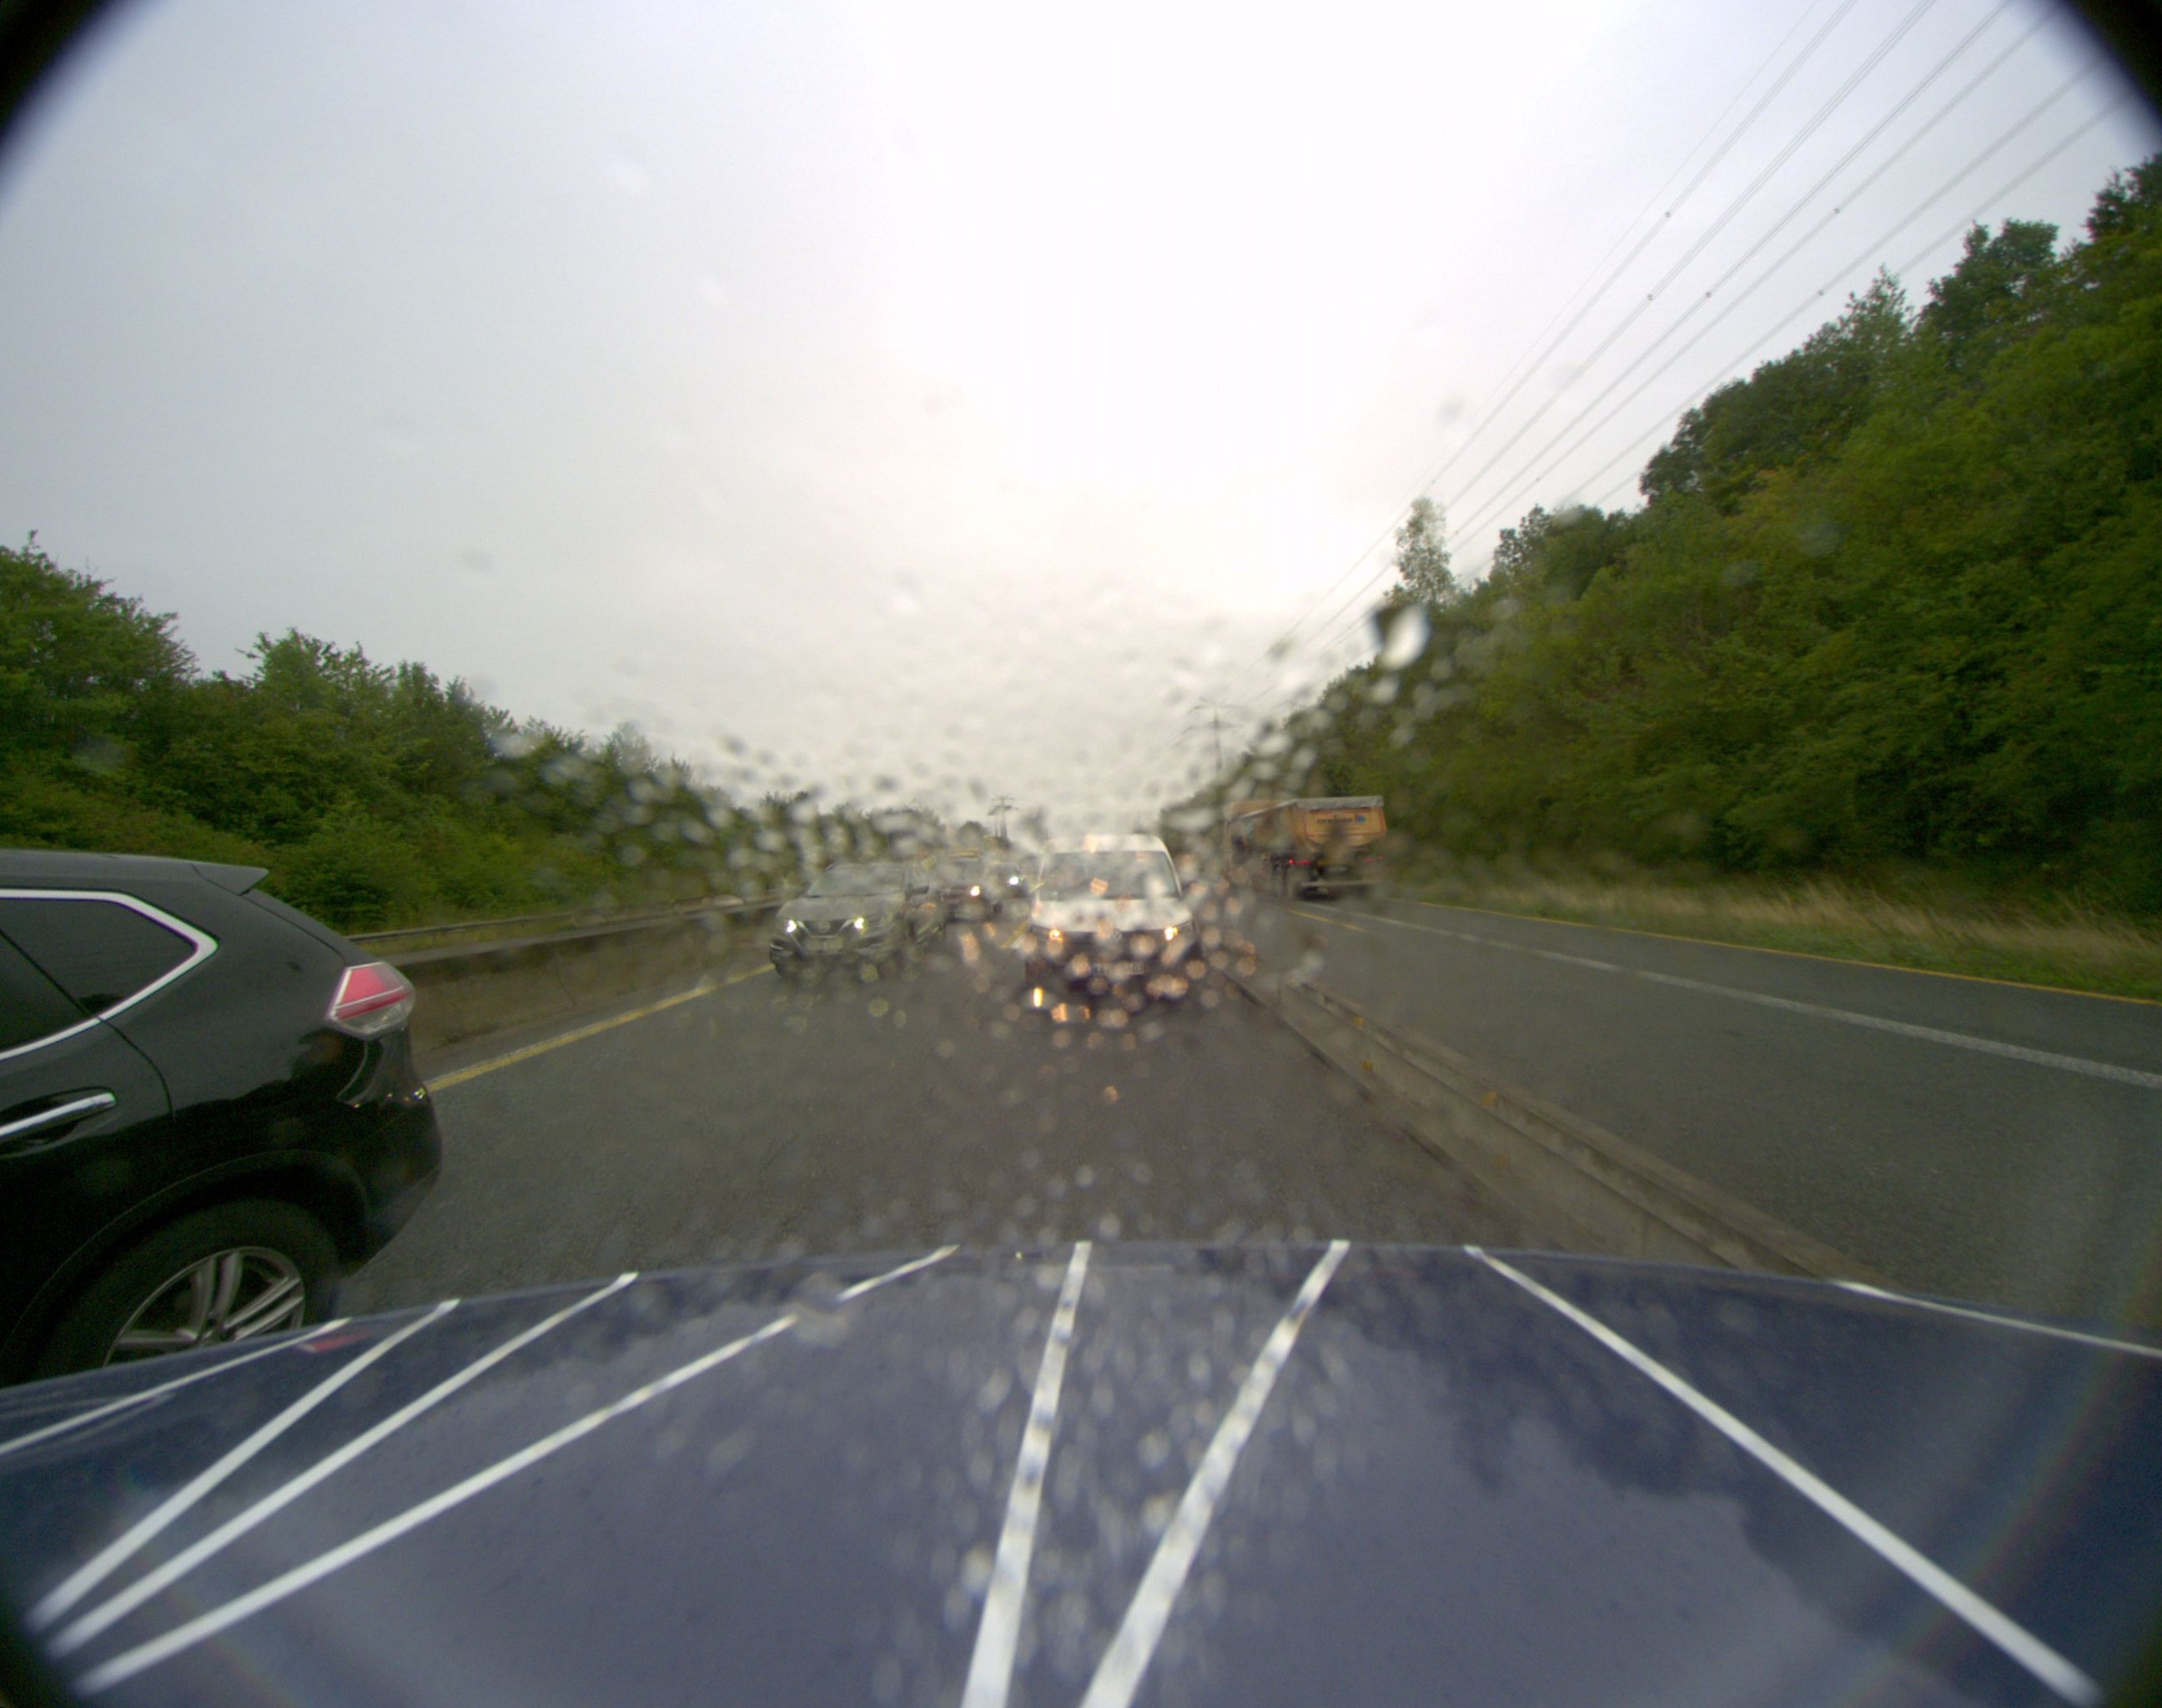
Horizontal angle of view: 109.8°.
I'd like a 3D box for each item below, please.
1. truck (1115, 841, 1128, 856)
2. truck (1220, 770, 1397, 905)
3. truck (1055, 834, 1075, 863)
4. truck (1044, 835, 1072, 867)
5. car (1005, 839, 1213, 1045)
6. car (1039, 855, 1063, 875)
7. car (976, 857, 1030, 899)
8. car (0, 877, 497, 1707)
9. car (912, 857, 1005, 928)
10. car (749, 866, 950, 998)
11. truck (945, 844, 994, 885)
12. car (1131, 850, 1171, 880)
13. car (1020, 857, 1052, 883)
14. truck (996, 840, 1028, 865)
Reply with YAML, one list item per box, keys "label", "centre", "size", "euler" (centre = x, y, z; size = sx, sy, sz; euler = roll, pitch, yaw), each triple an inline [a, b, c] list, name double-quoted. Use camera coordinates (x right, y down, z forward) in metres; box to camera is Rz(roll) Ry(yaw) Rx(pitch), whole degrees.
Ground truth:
- label: "truck"
  centre: [9.425, -1.211, 178.022]
  size: [2.541, 3.333, 12.048]
  euler: [-2, 1, 1]
- label: "truck"
  centre: [7.416, -0.526, 27.153]
  size: [2.688, 3.635, 12.310]
  euler: [-2, 1, 1]
- label: "truck"
  centre: [-2.177, -0.779, 109.025]
  size: [2.619, 3.869, 9.574]
  euler: [-2, 1, 0]
- label: "truck"
  centre: [-2.617, -0.417, 88.137]
  size: [2.619, 3.404, 9.575]
  euler: [-2, 1, 1]
- label: "car"
  centre: [0.230, 0.758, 9.095]
  size: [1.784, 1.775, 4.697]
  euler: [-2, 1, -1]
- label: "car"
  centre: [-2.461, 0.914, 63.407]
  size: [1.784, 1.482, 4.123]
  euler: [-2, 1, -1]
- label: "car"
  centre: [-3.164, 0.934, 31.485]
  size: [1.784, 1.482, 4.123]
  euler: [-2, 1, -1]
- label: "car"
  centre: [-3.141, 0.977, 0.496]
  size: [1.894, 1.665, 4.640]
  euler: [-2, 1, -1]
- label: "car"
  centre: [-3.153, 0.945, 20.330]
  size: [1.784, 1.589, 4.123]
  euler: [-2, 1, -1]
- label: "car"
  centre: [-3.271, 1.014, 11.619]
  size: [1.784, 1.482, 4.123]
  euler: [-2, 1, -1]
- label: "truck"
  centre: [-9.934, 0.807, 68.927]
  size: [2.619, 3.404, 9.575]
  euler: [-2, 1, 2]
- label: "car"
  centre: [4.028, 0.604, 44.342]
  size: [1.940, 1.598, 4.119]
  euler: [-2, 1, 0]
- label: "car"
  centre: [-2.824, 0.962, 48.833]
  size: [1.784, 1.482, 4.123]
  euler: [-2, 1, -1]
- label: "truck"
  centre: [-9.771, -0.254, 108.217]
  size: [3.329, 3.404, 9.575]
  euler: [-2, 1, 2]
